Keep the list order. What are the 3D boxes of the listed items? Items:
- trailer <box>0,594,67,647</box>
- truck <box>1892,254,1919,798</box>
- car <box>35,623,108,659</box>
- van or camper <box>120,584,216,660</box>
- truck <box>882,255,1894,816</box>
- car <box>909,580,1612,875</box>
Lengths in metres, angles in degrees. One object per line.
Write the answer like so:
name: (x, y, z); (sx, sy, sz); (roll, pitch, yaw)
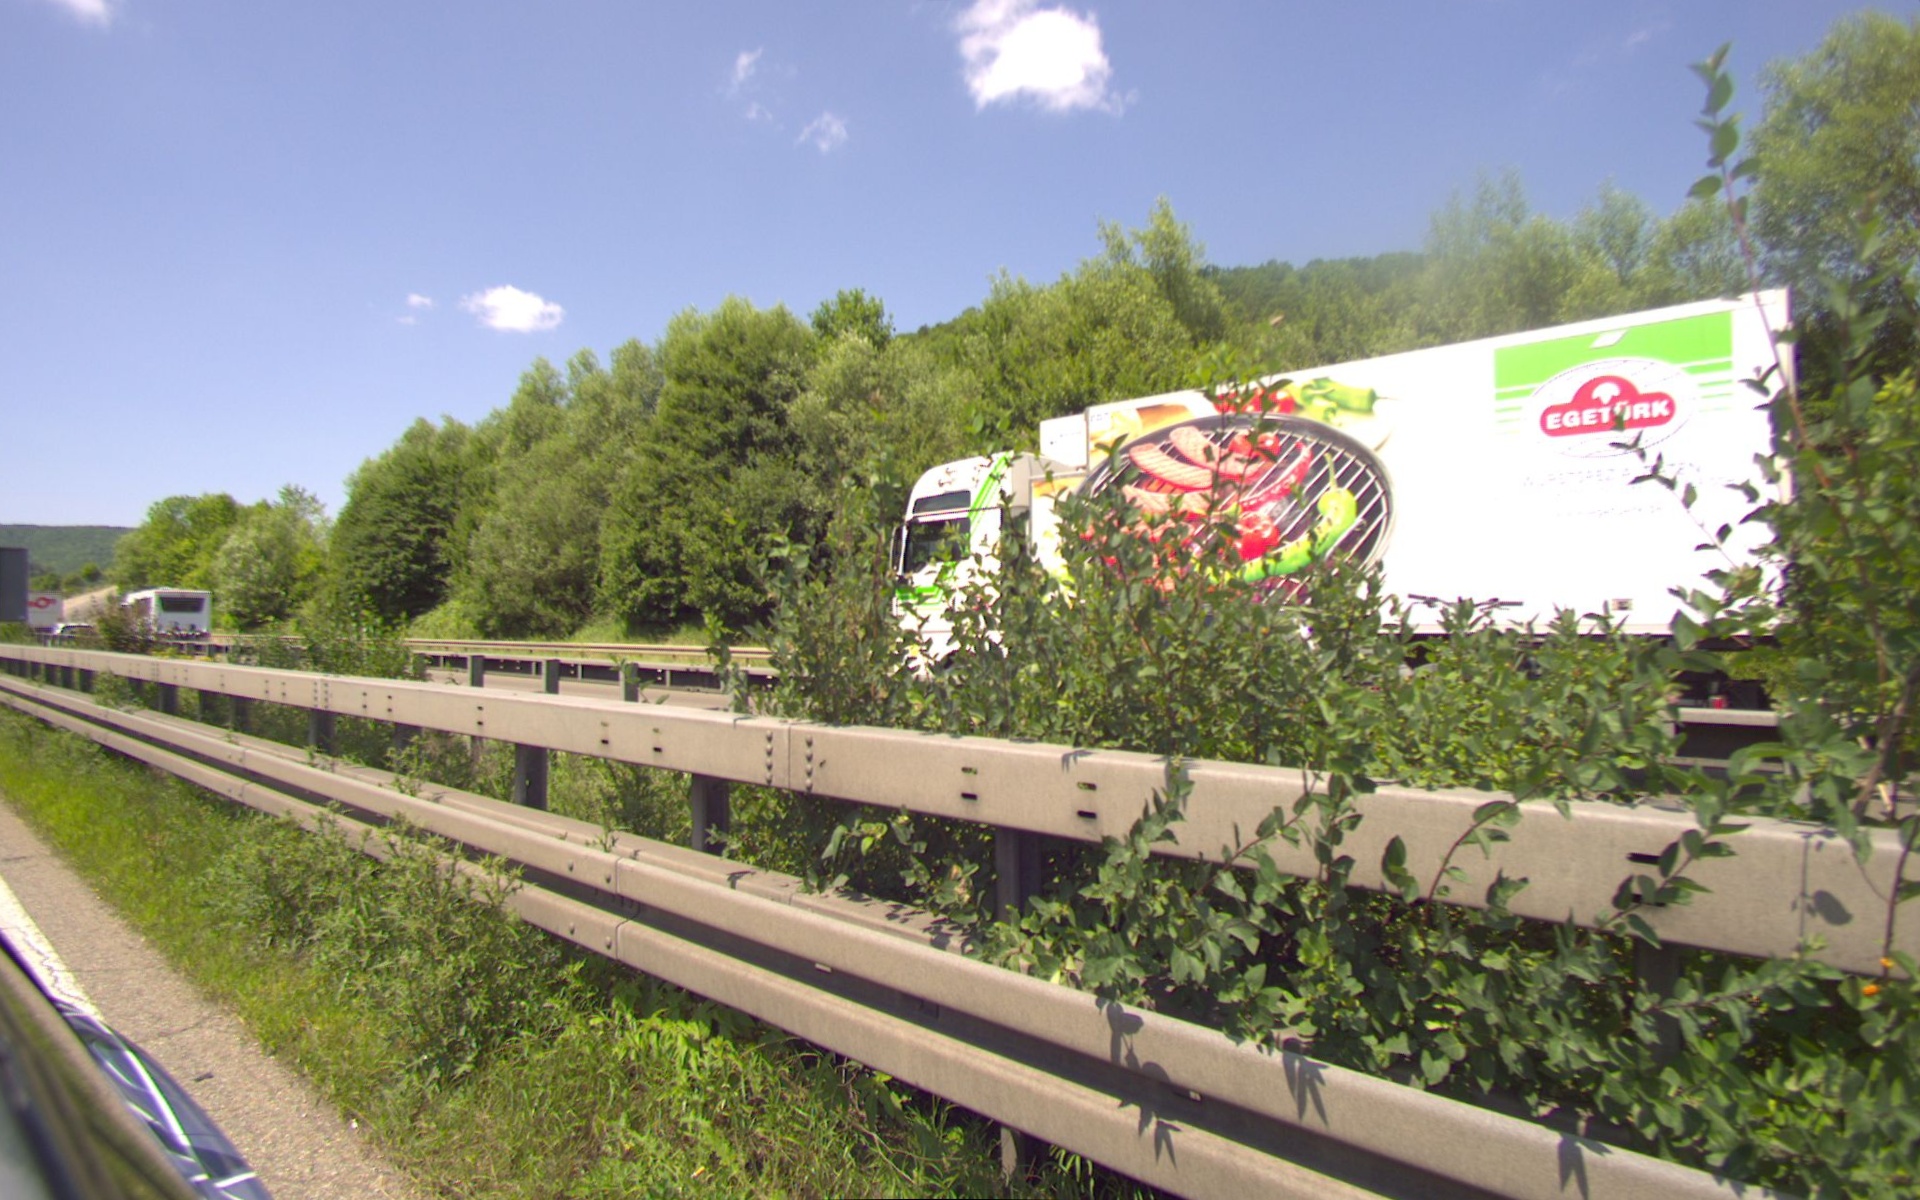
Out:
trailer: (-76.488, 1.732, 83.242); (14.153, 4.030, 2.753); (-1, -1, 41)
truck: (11.146, -0.506, 5.274); (9.026, 4.011, 2.839); (-2, -3, 41)
car: (-39.388, 1.785, 44.824); (4.533, 1.475, 1.779); (-1, -1, 40)
van or camper: (-38.268, 1.071, 48.780); (7.649, 3.361, 2.561); (-2, -2, 44)
truck: (3.711, -0.378, 11.679); (10.164, 4.036, 2.840); (-2, -1, 41)
car: (2.082, 0.761, 8.096); (5.029, 1.653, 1.973); (-2, -1, 41)
